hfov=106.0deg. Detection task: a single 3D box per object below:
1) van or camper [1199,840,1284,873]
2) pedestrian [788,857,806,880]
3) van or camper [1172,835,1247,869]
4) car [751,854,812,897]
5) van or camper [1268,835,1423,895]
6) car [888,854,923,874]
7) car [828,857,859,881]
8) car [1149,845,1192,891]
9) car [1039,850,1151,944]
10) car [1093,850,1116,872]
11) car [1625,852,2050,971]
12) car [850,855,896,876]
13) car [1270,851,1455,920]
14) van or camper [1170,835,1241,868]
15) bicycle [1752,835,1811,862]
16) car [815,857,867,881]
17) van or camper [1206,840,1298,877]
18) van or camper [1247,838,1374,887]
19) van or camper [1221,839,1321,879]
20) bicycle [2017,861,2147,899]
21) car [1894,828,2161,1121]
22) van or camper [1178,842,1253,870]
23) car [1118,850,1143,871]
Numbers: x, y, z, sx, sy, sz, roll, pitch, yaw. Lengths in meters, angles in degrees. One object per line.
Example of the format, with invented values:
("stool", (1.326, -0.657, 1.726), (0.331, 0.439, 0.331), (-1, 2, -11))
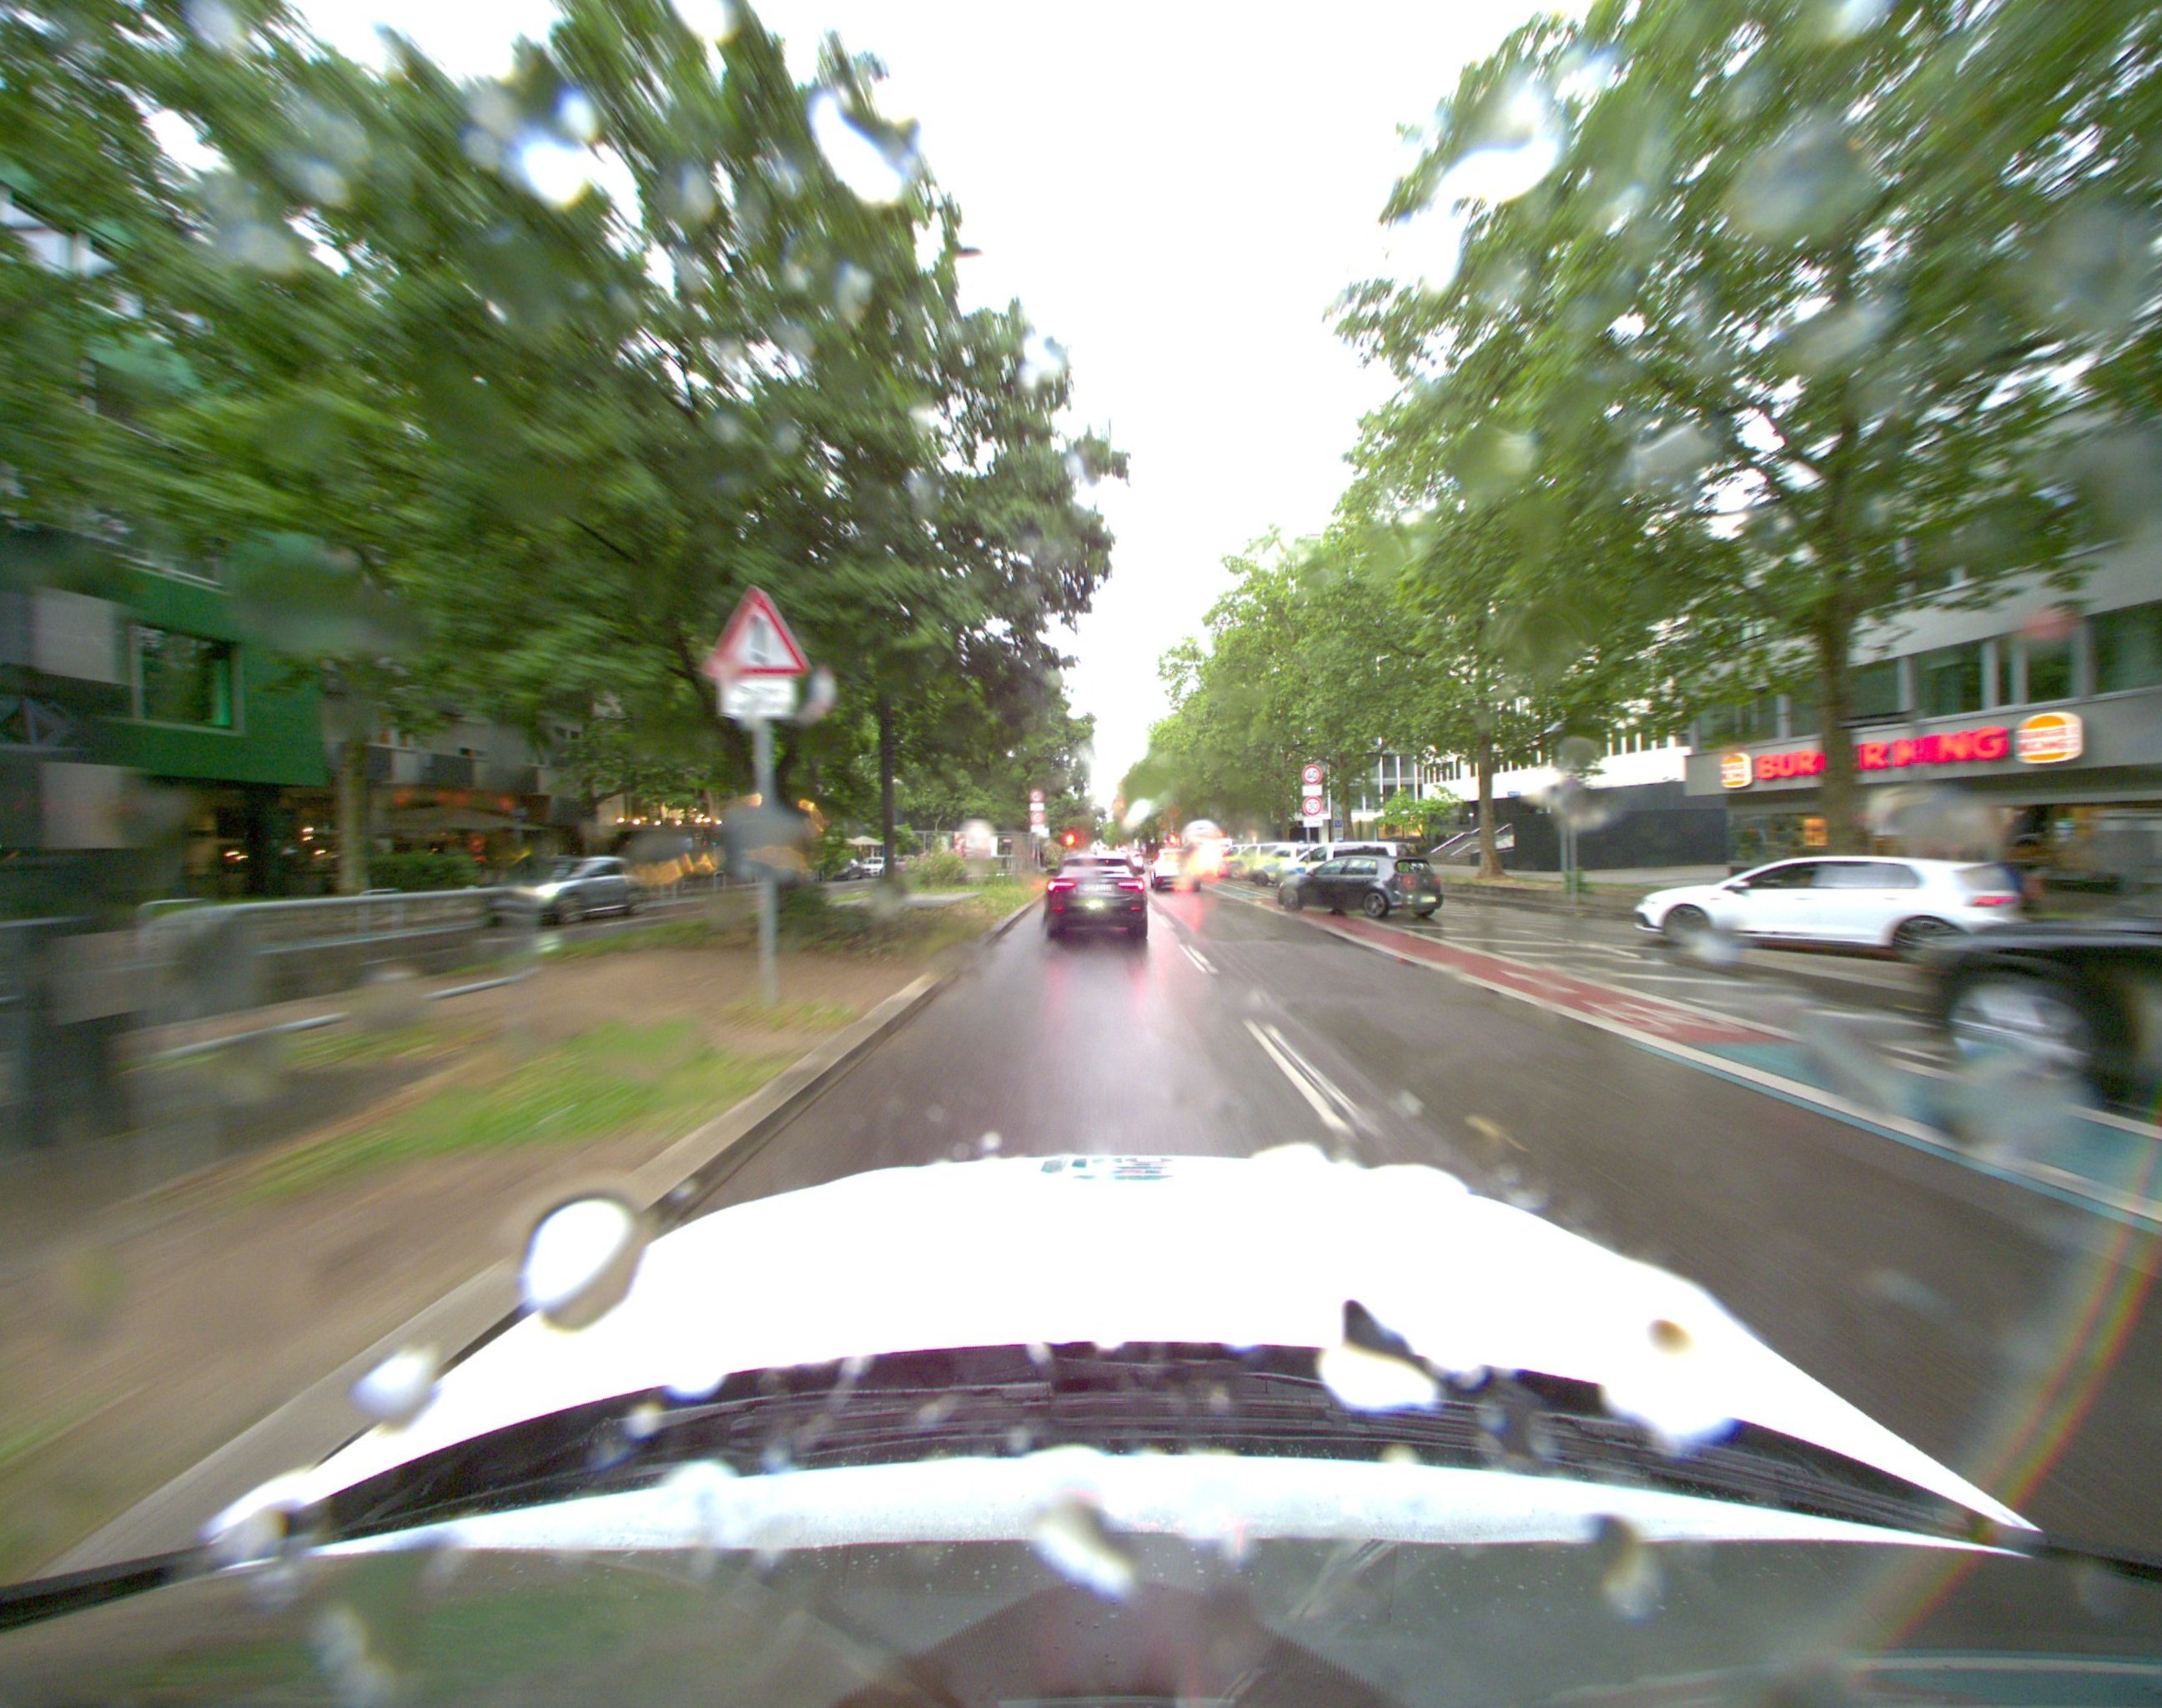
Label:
("van or camper", (10.497, 0.181, 53.555), (5.042, 2.025, 2.119), (-1, 0, 39))
("pedestrian", (-18.071, 0.917, 51.833), (0.761, 1.380, 0.933), (-1, 0, -2))
("van or camper", (10.565, -0.120, 67.256), (5.736, 2.680, 2.013), (-1, 0, 36))
("car", (-12.450, 0.830, 34.085), (1.720, 1.626, 4.423), (-1, 0, -12))
("van or camper", (9.463, 0.374, 29.357), (4.884, 1.992, 2.015), (0, 0, 39))
("car", (-14.745, 0.817, 68.784), (1.988, 1.509, 4.516), (-2, 0, -1))
("car", (-14.833, 0.909, 50.906), (1.046, 1.387, 2.695), (-2, 0, 2))
("car", (3.548, 0.527, 32.682), (1.428, 1.685, 2.980), (-2, 0, 1))
("car", (0.342, 0.720, 16.014), (1.856, 1.532, 4.529), (-1, 0, 2))
("car", (1.779, 0.495, 62.852), (1.715, 1.577, 3.962), (-1, 0, 1))
("car", (11.075, 0.726, 12.261), (1.876, 1.445, 4.458), (2, -1, -38))
("car", (-14.823, 0.823, 58.254), (1.986, 1.370, 4.541), (1, 0, 1))
("car", (6.571, 0.676, 19.424), (1.776, 1.413, 3.961), (-2, 0, -30))
("van or camper", (10.753, -0.189, 70.597), (5.741, 2.677, 2.161), (-1, 0, 38))
("bicycle", (31.290, -0.249, 36.435), (0.684, 1.173, 2.288), (-1, 0, 1))
("car", (-15.061, 0.902, 51.281), (1.818, 1.394, 4.485), (-1, 0, 1))
("van or camper", (9.772, 0.264, 46.783), (4.733, 2.011, 2.013), (-1, 0, 37))
("van or camper", (10.062, 0.326, 35.893), (5.023, 2.019, 2.010), (0, 0, 37))
("van or camper", (9.956, 0.254, 42.866), (4.792, 1.998, 1.880), (-1, 0, 38))
("bicycle", (23.795, 0.602, 19.410), (0.641, 0.819, 1.908), (-1, 0, -7))
("car", (6.791, 0.659, 3.707), (1.787, 1.603, 4.423), (0, 0, 0))
("van or camper", (9.976, 0.143, 60.754), (5.142, 1.992, 2.013), (0, -1, 35))
("car", (4.289, 0.525, 70.732), (1.986, 1.750, 4.002), (-1, 0, 1))
